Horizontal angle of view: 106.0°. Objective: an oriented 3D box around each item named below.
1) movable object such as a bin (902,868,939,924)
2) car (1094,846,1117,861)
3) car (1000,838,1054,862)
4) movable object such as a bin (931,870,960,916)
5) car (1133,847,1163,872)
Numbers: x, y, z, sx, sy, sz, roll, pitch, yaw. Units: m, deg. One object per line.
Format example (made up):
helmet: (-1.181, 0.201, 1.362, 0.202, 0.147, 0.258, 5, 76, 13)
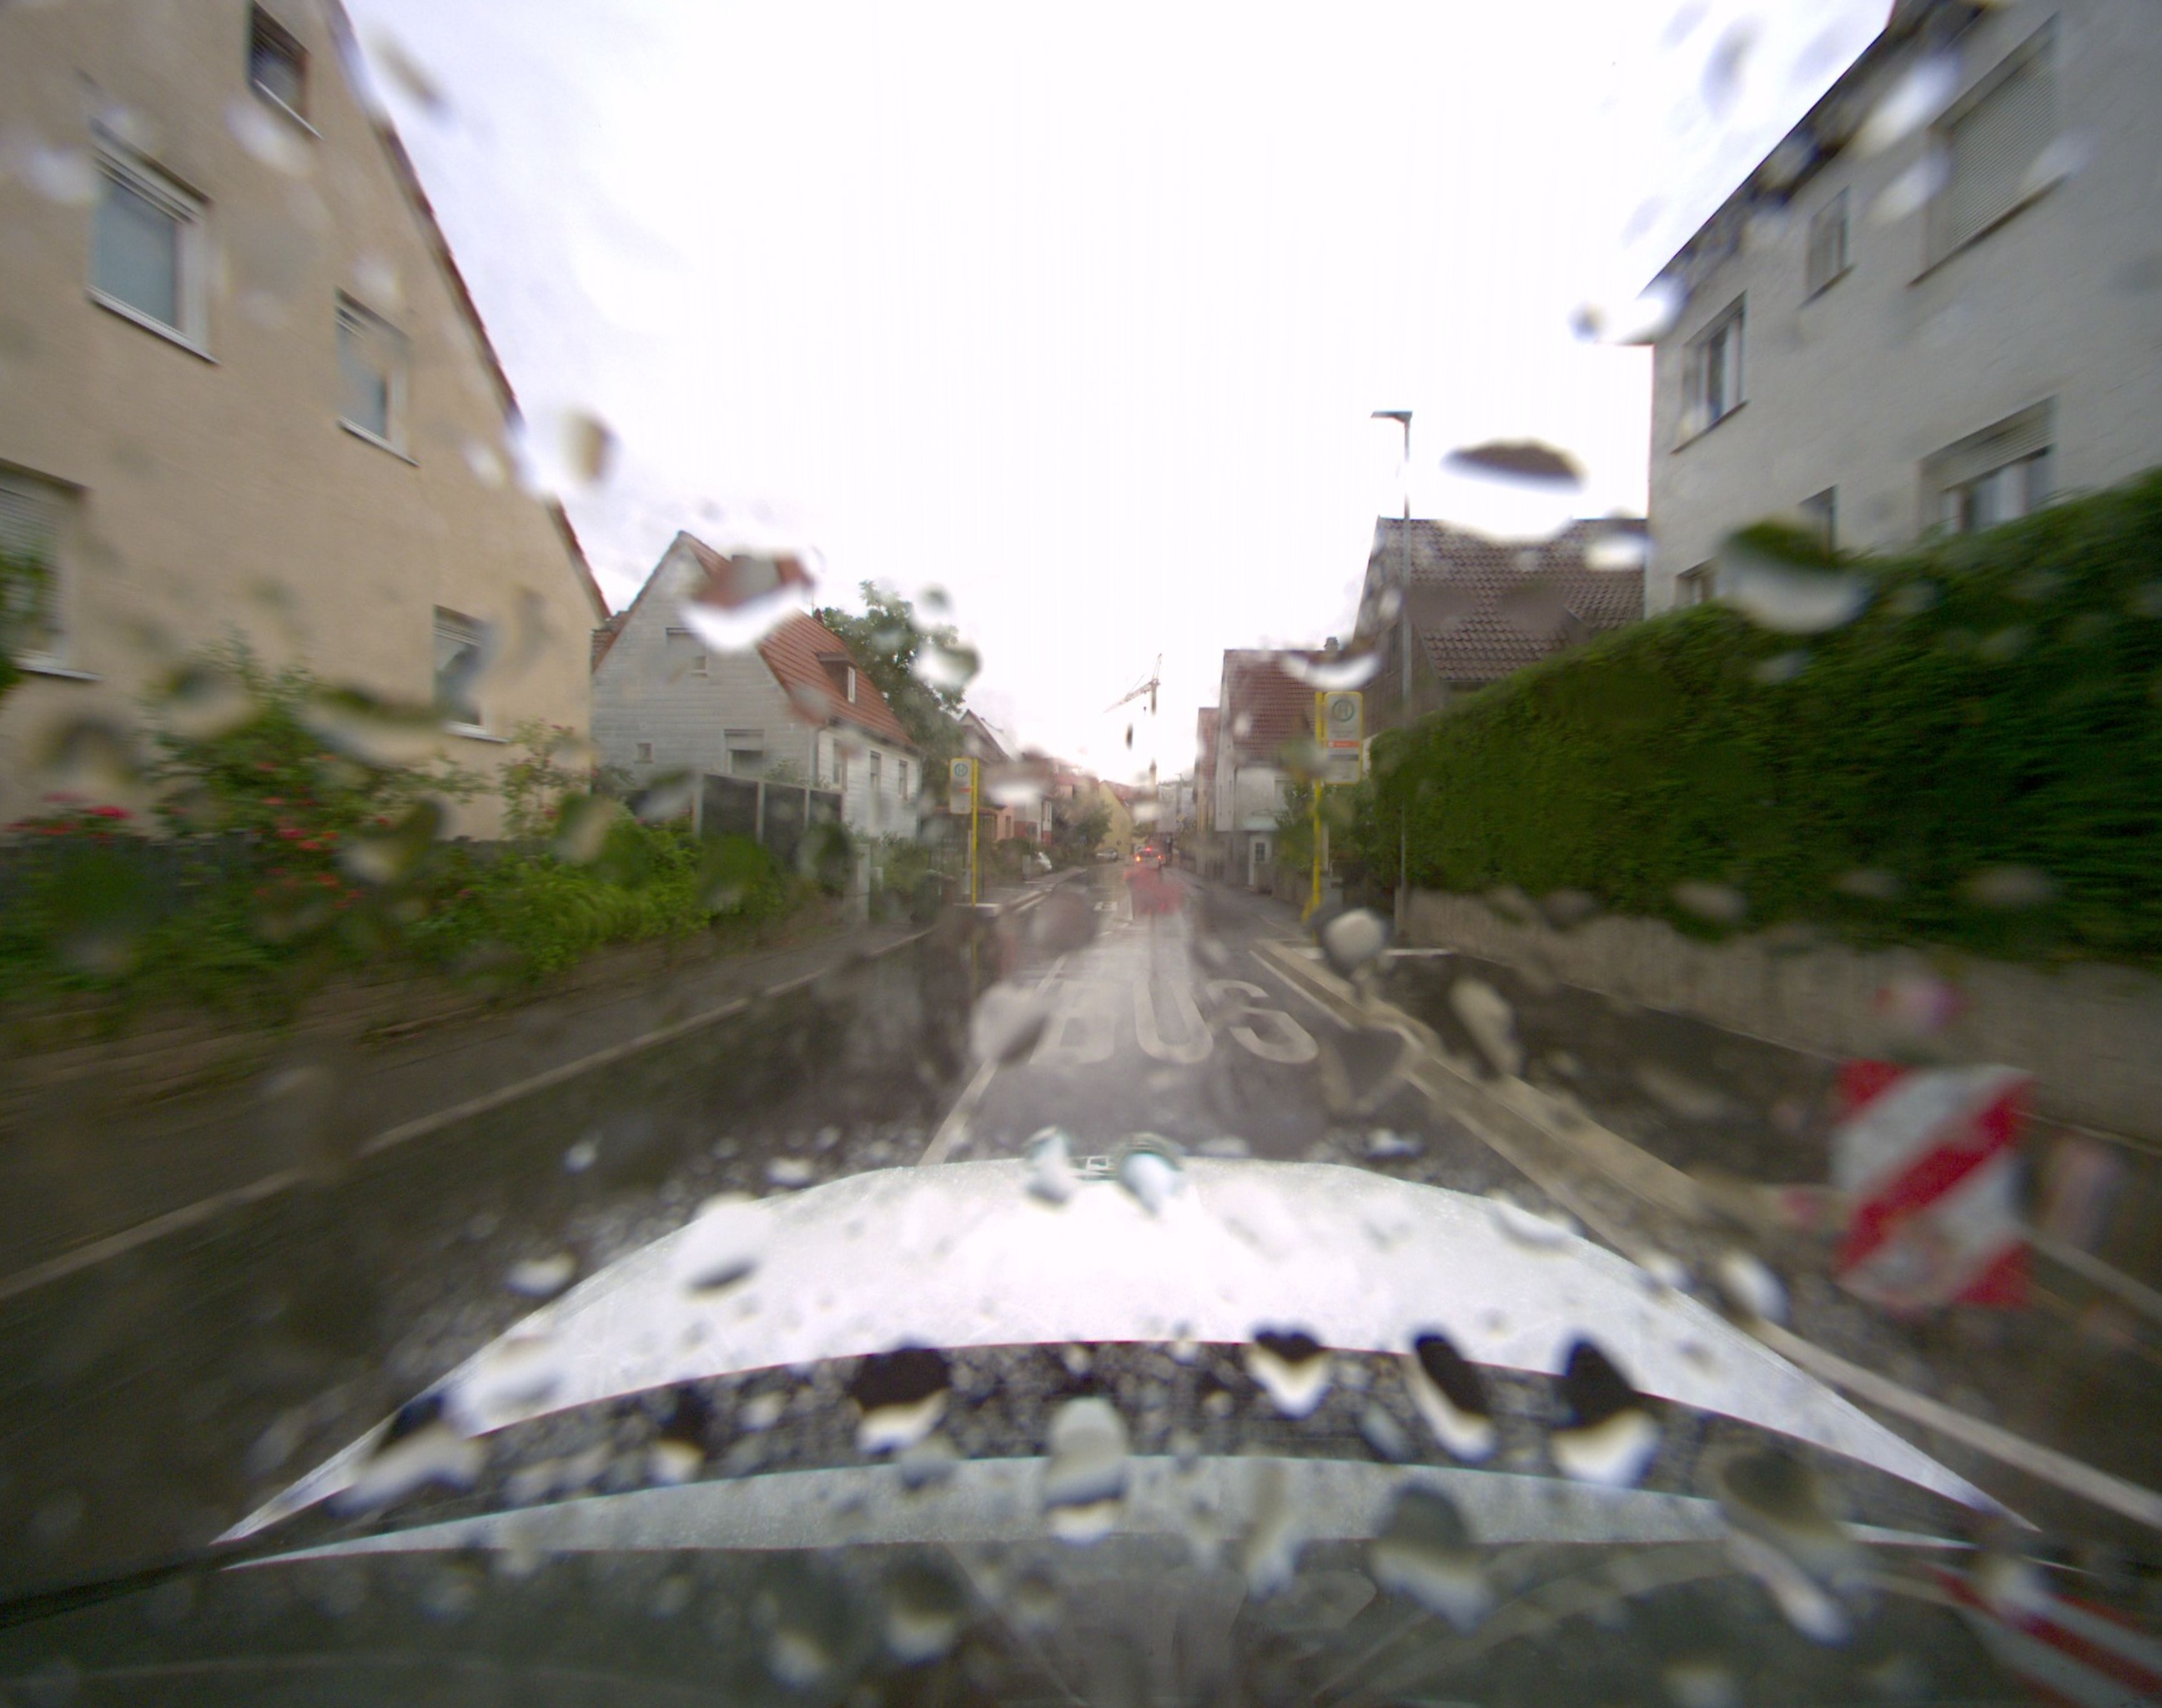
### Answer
movable object such as a bin: (-3.286, 0.844, 16.660, 0.550, 1.082, 0.528, 3, 0, 5)
car: (3.000, -0.099, 98.102, 1.587, 1.677, 3.958, 1, 2, 19)
car: (-3.804, -0.276, 57.921, 3.528, 1.529, 1.665, 2, 0, 4)
movable object such as a bin: (-2.974, 0.855, 17.856, 0.466, 0.938, 0.455, 4, 2, 5)
car: (5.068, 0.420, 62.048, 2.172, 1.869, 4.004, 0, 0, 3)
